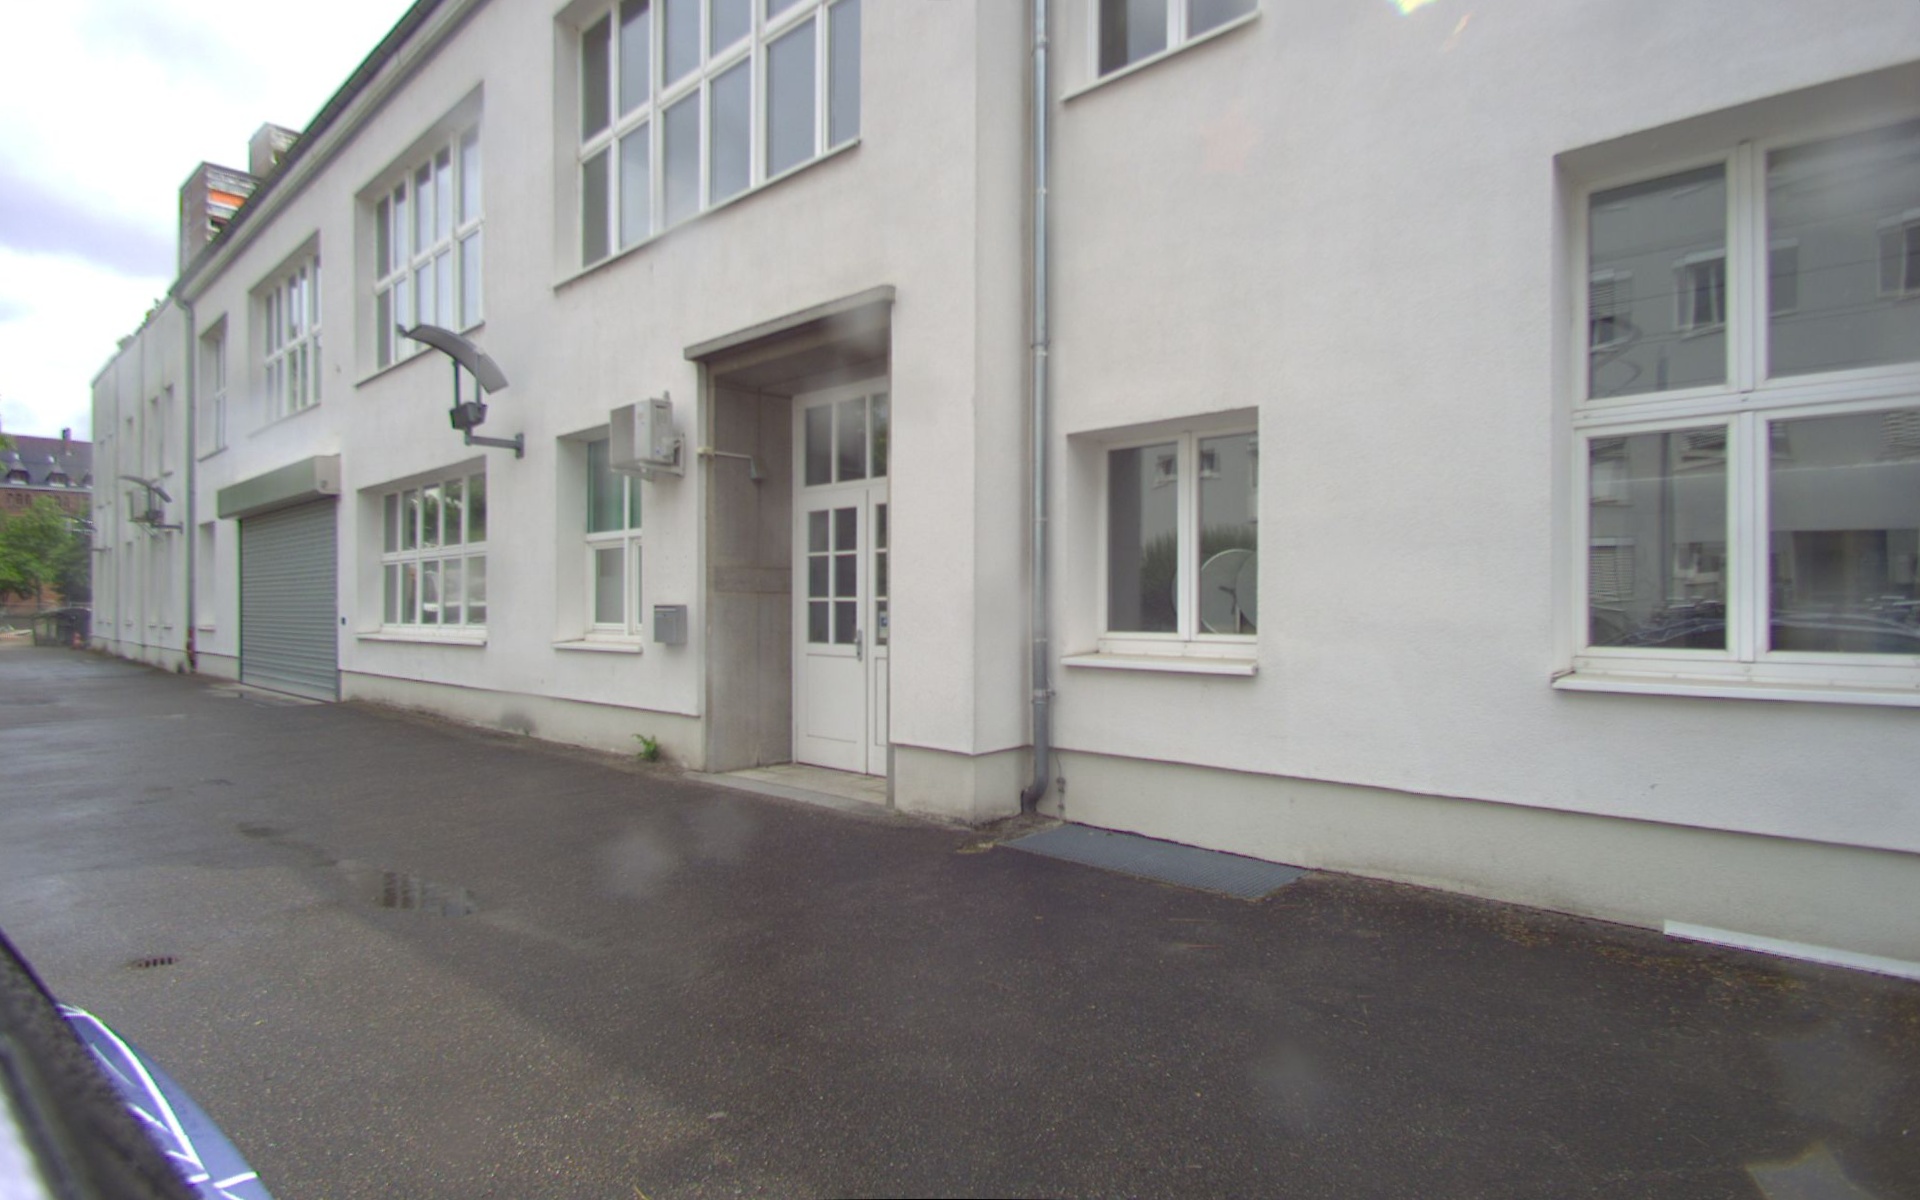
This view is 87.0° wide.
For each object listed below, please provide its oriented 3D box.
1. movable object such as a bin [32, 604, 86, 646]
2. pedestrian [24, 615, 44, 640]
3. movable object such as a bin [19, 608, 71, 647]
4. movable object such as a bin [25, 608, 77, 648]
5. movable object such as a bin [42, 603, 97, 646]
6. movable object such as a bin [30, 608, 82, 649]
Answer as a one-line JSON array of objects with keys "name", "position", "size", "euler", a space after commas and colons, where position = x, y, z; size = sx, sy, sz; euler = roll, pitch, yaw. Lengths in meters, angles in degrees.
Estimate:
[{"name": "movable object such as a bin", "position": [-33.407, 0.908, 37.526], "size": [1.365, 1.482, 1.345], "euler": [-2, 0, 42]}, {"name": "pedestrian", "position": [-56.859, 1.674, 62.150], "size": [0.617, 1.520, 0.648], "euler": [0, -1, 2]}, {"name": "movable object such as a bin", "position": [-36.814, 1.104, 40.723], "size": [1.560, 1.482, 1.394], "euler": [-2, 0, 43]}, {"name": "movable object such as a bin", "position": [-35.500, 1.097, 39.526], "size": [1.465, 1.482, 1.345], "euler": [-2, 0, 43]}, {"name": "movable object such as a bin", "position": [-32.094, 0.865, 36.482], "size": [1.365, 1.482, 1.345], "euler": [-2, 0, 42]}, {"name": "movable object such as a bin", "position": [-34.424, 1.063, 38.532], "size": [1.352, 1.482, 1.345], "euler": [-2, 0, 42]}]
